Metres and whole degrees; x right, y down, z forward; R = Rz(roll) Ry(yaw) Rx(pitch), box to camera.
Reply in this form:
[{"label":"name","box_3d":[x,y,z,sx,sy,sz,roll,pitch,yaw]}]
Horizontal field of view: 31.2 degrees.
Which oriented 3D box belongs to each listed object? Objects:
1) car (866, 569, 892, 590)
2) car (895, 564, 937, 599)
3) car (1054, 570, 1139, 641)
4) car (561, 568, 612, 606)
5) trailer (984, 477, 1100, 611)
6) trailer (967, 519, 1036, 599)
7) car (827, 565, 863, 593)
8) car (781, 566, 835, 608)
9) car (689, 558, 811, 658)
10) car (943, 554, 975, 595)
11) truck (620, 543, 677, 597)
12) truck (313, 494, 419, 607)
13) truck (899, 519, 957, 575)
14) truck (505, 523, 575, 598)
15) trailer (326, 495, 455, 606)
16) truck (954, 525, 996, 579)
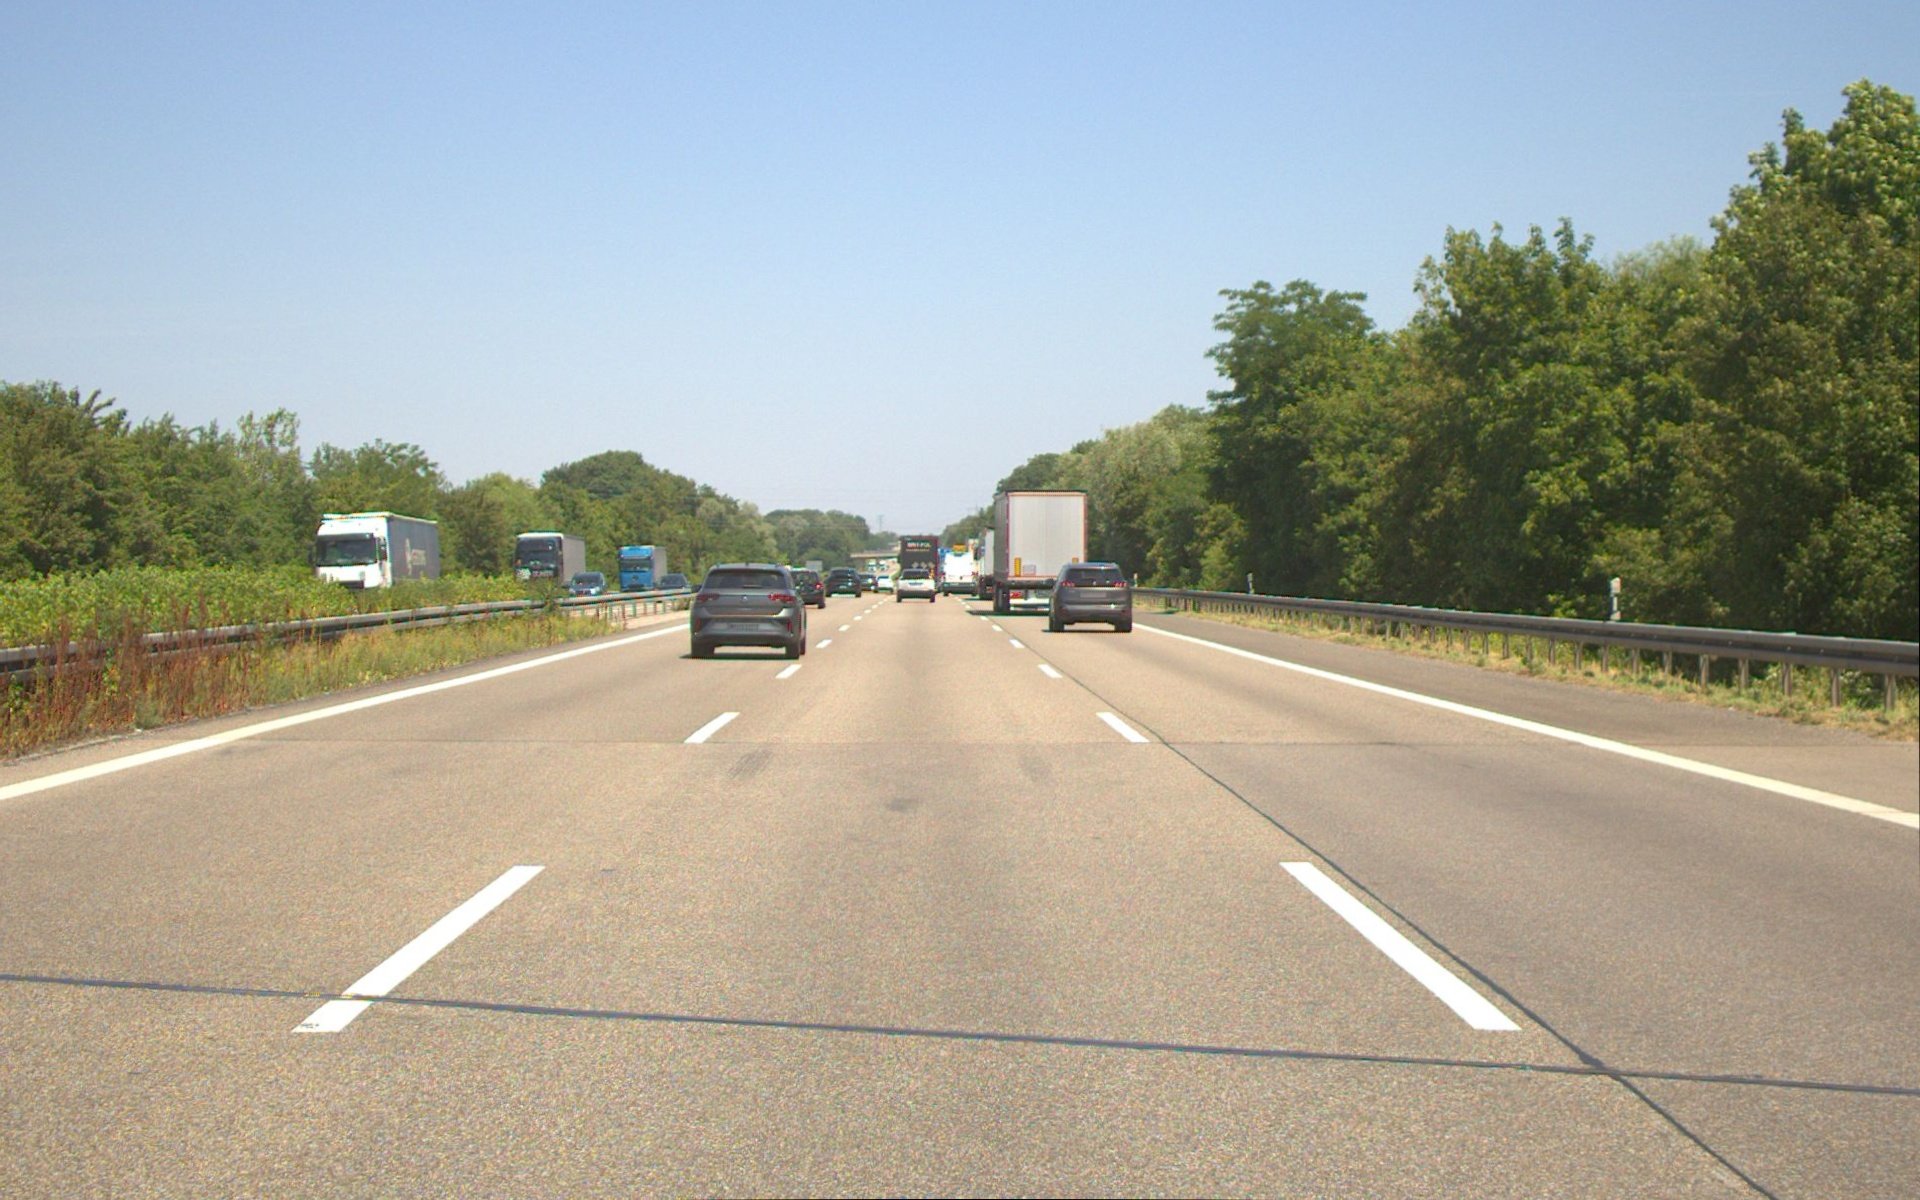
[{"label":"car","box_3d":[-6.146,-1.552,261.157,1.907,1.525,4.285,1,1,0]},{"label":"car","box_3d":[-2.023,-0.852,159.508,1.900,1.525,4.084,1,1,0]},{"label":"car","box_3d":[3.200,0.110,81.184,1.845,1.623,4.135,0,1,0]},{"label":"car","box_3d":[-19.604,-0.690,180.623,2.228,1.982,5.357,0,1,-2]},{"label":"trailer","box_3d":[2.639,-1.777,114.998,3.434,4.167,13.632,1,0,0]},{"label":"trailer","box_3d":[2.101,-2.131,176.587,3.122,3.913,9.937,1,1,-1]},{"label":"car","box_3d":[-6.428,-1.181,192.469,1.907,1.525,4.285,1,1,0]},{"label":"car","box_3d":[-5.757,-0.503,130.524,1.900,1.525,4.084,1,1,0]},{"label":"car","box_3d":[-3.428,0.105,56.845,1.759,1.525,4.285,1,1,0]},{"label":"car","box_3d":[-0.069,-1.545,210.026,1.907,2.417,4.285,1,1,0]},{"label":"truck","box_3d":[-23.627,-2.302,260.995,3.252,3.972,8.727,0,1,2]},{"label":"truck","box_3d":[-22.794,-1.859,132.265,2.916,4.115,6.194,-3,0,-1]},{"label":"truck","box_3d":[-2.147,-3.609,233.708,3.667,3.713,7.108,1,1,1]},{"label":"truck","box_3d":[-23.585,-2.240,193.271,3.197,4.115,6.194,0,1,-1]},{"label":"trailer","box_3d":[-22.875,-1.925,138.857,2.919,4.172,13.541,-2,0,-1]},{"label":"truck","box_3d":[1.078,-3.366,241.427,2.792,3.713,7.108,1,1,1]}]
